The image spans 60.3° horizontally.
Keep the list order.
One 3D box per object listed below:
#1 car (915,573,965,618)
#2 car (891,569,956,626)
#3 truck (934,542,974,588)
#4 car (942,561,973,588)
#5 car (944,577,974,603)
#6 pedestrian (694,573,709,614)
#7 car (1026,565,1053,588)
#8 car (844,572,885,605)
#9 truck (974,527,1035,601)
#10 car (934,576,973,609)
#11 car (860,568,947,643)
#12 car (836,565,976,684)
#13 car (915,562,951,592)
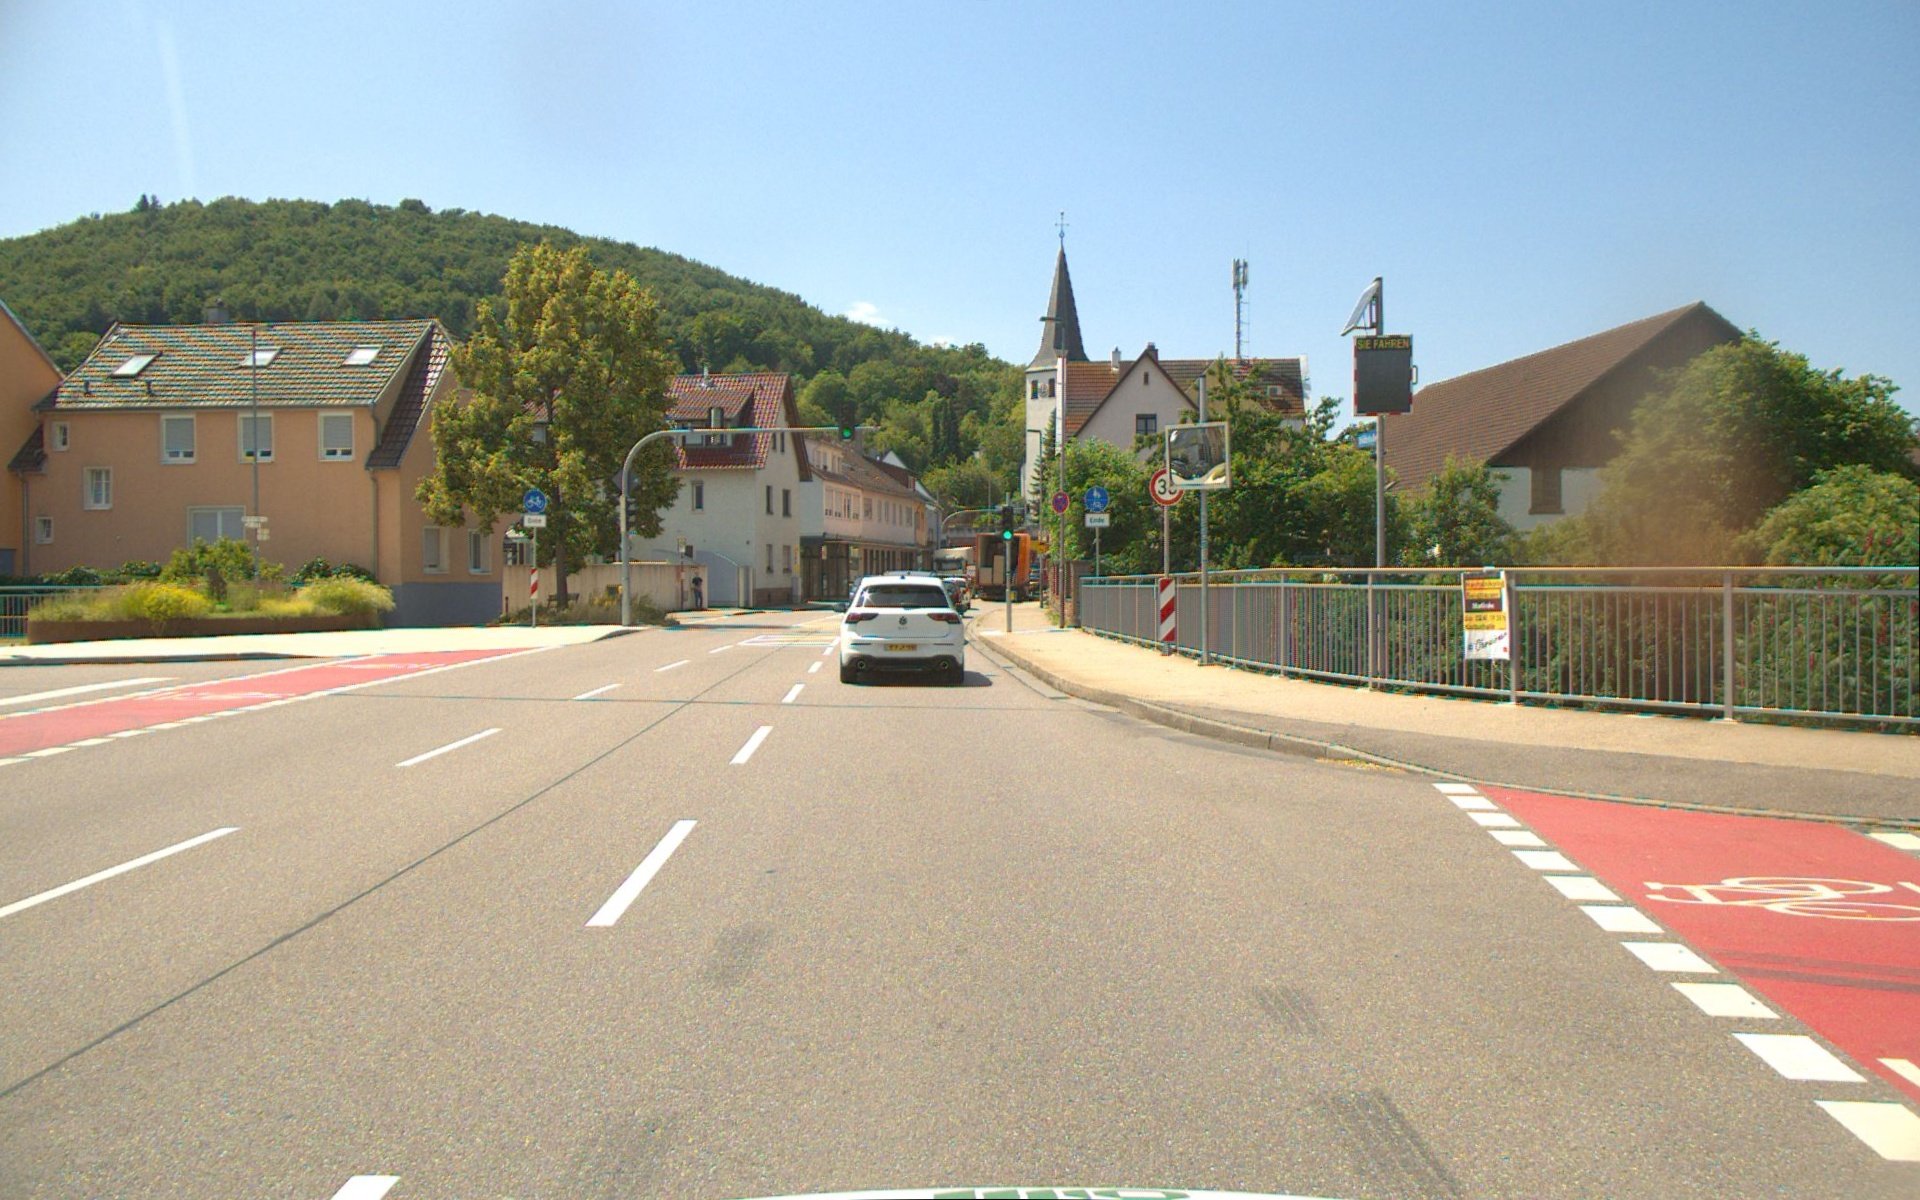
[{"bbox_3d":[-0.741,-0.178,64.946,1.777,1.657,4.001,-1,0,1],"label":"car"},{"bbox_3d":[-1.093,-0.088,51.052,1.777,1.657,4.001,-1,0,1],"label":"car"},{"bbox_3d":[-0.410,-2.607,124.348,2.449,3.292,6.043,-1,0,4],"label":"truck"},{"bbox_3d":[-0.148,-1.702,112.508,1.952,1.735,4.313,-1,0,1],"label":"car"},{"bbox_3d":[-0.044,-0.612,103.061,1.777,1.545,4.001,-1,0,1],"label":"car"},{"bbox_3d":[-11.310,-0.288,72.403,0.425,1.795,0.557,0,1,20],"label":"pedestrian"},{"bbox_3d":[5.613,-1.682,117.214,1.777,1.545,4.001,-1,0,1],"label":"car"},{"bbox_3d":[-5.039,-0.618,87.736,1.777,1.678,4.001,1,0,1],"label":"car"},{"bbox_3d":[2.826,-2.151,102.113,3.296,4.243,9.524,-1,0,4],"label":"truck"},{"bbox_3d":[-0.310,-0.390,81.648,1.777,1.545,4.001,-1,0,1],"label":"car"},{"bbox_3d":[-1.286,0.120,39.139,1.777,1.657,4.001,-1,0,1],"label":"car"},{"bbox_3d":[-0.702,0.320,23.980,1.777,1.545,4.001,1,0,1],"label":"car"},{"bbox_3d":[-1.501,-1.276,93.069,1.777,1.545,4.001,-1,0,1],"label":"car"}]
